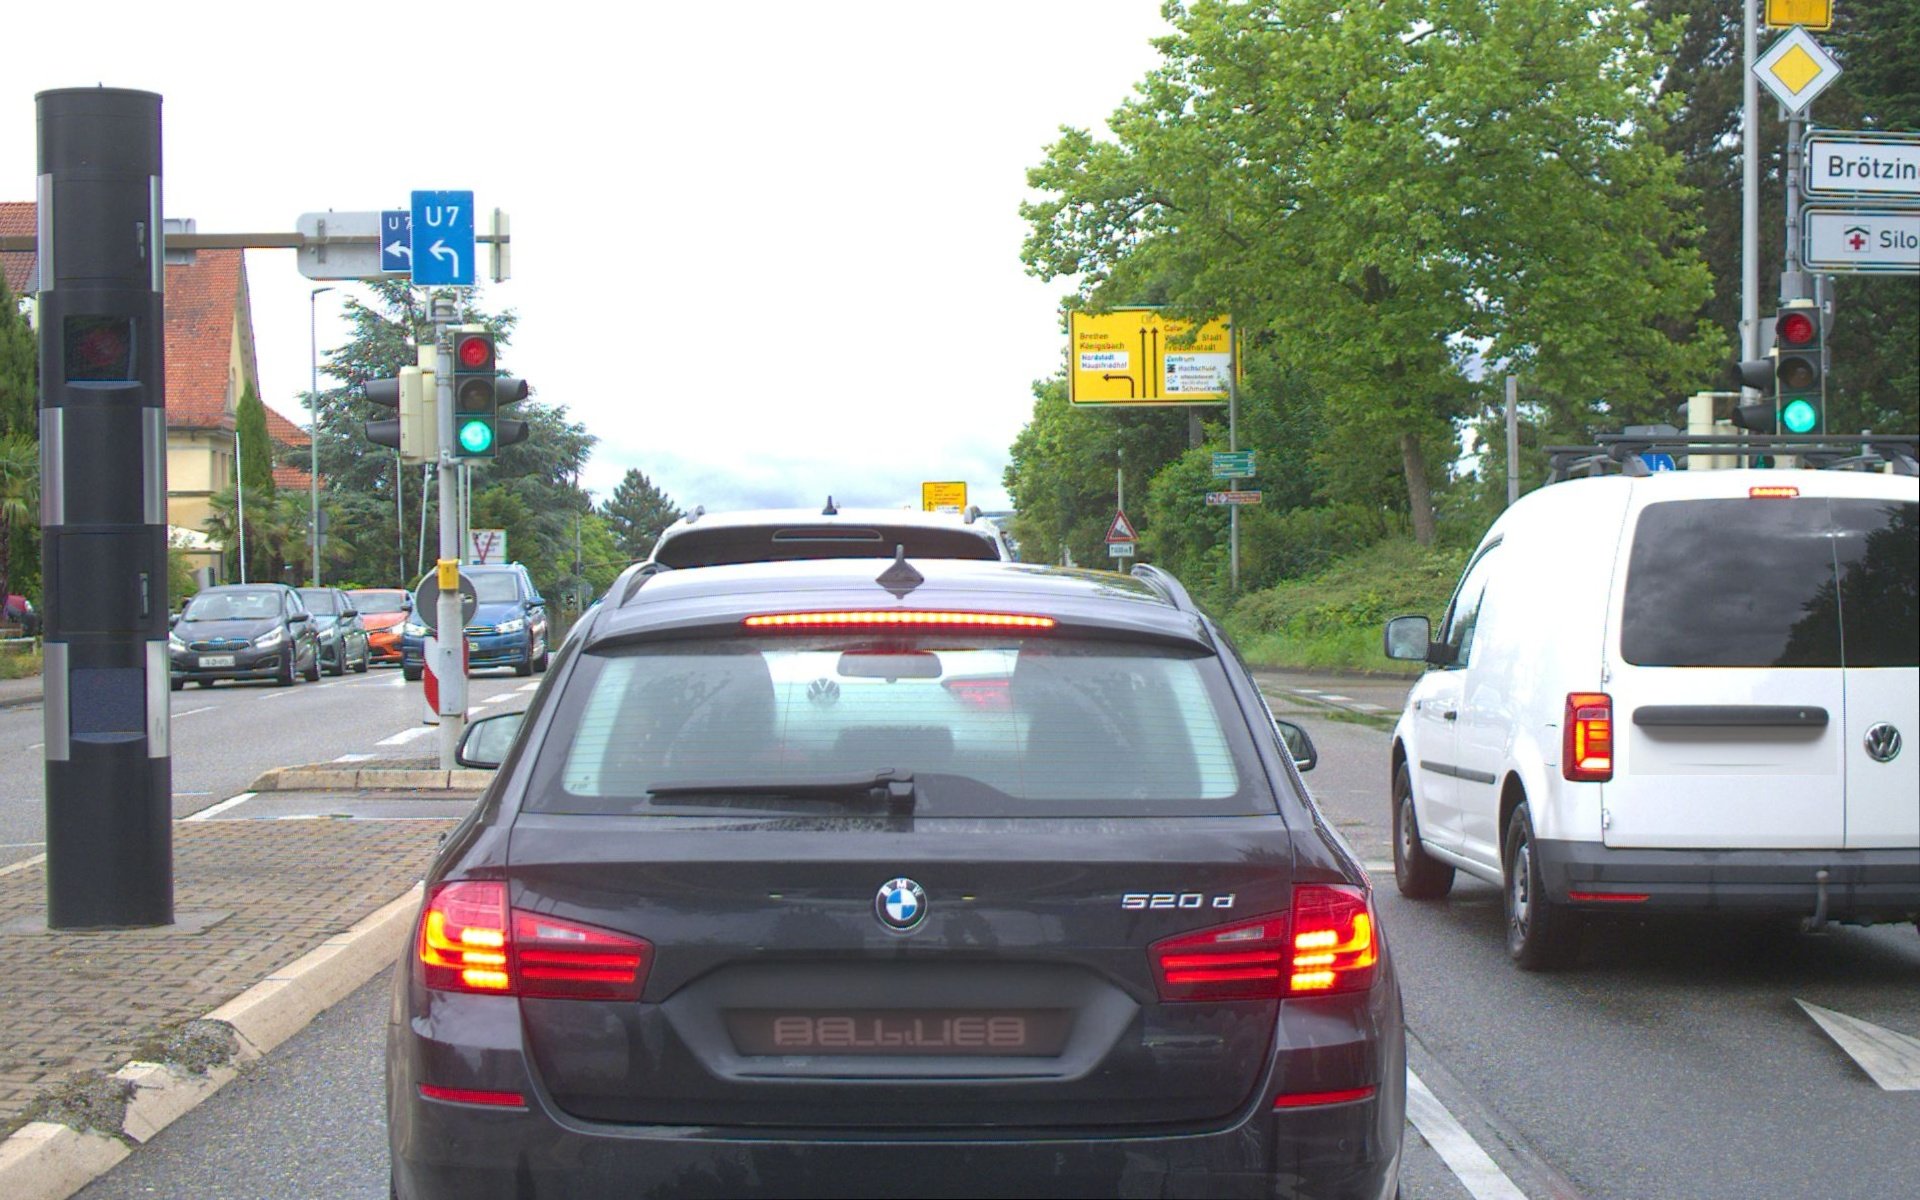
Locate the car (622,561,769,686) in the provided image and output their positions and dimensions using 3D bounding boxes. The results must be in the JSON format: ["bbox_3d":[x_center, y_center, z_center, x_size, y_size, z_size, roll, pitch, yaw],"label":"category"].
[{"bbox_3d":[-3.673,0.294,48.339,1.839,1.644,4.298,-1,1,-2],"label":"car"}]

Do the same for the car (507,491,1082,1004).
[{"bbox_3d":[-0.558,0.439,13.234,1.868,1.668,4.000,0,1,0],"label":"car"}]

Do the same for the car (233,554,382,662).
[{"bbox_3d":[-10.557,0.093,55.854,1.676,1.612,4.000,-2,1,-1],"label":"car"}]

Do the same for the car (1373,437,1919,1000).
[{"bbox_3d":[2.771,0.355,13.365,1.764,1.871,3.806,0,1,-1],"label":"car"}]

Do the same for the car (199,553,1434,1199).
[{"bbox_3d":[-0.240,0.642,7.305,1.899,1.436,4.000,0,1,0],"label":"car"}]

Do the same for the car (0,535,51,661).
[{"bbox_3d":[-17.261,0.046,55.847,4.385,2.007,2.000,-3,1,-29],"label":"car"}]

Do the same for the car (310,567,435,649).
[{"bbox_3d":[-10.502,0.121,61.687,1.622,1.327,3.947,-2,1,-1],"label":"car"}]

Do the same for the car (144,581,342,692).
[{"bbox_3d":[-10.155,0.485,48.984,1.917,1.375,4.125,-3,1,0],"label":"car"}]

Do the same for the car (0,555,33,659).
[{"bbox_3d":[-18.524,0.236,58.332,4.996,1.697,2.000,-3,-2,-28],"label":"car"}]

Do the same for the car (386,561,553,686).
[{"bbox_3d":[-7.009,0.297,49.500,1.839,1.644,4.298,-2,1,-2],"label":"car"}]
